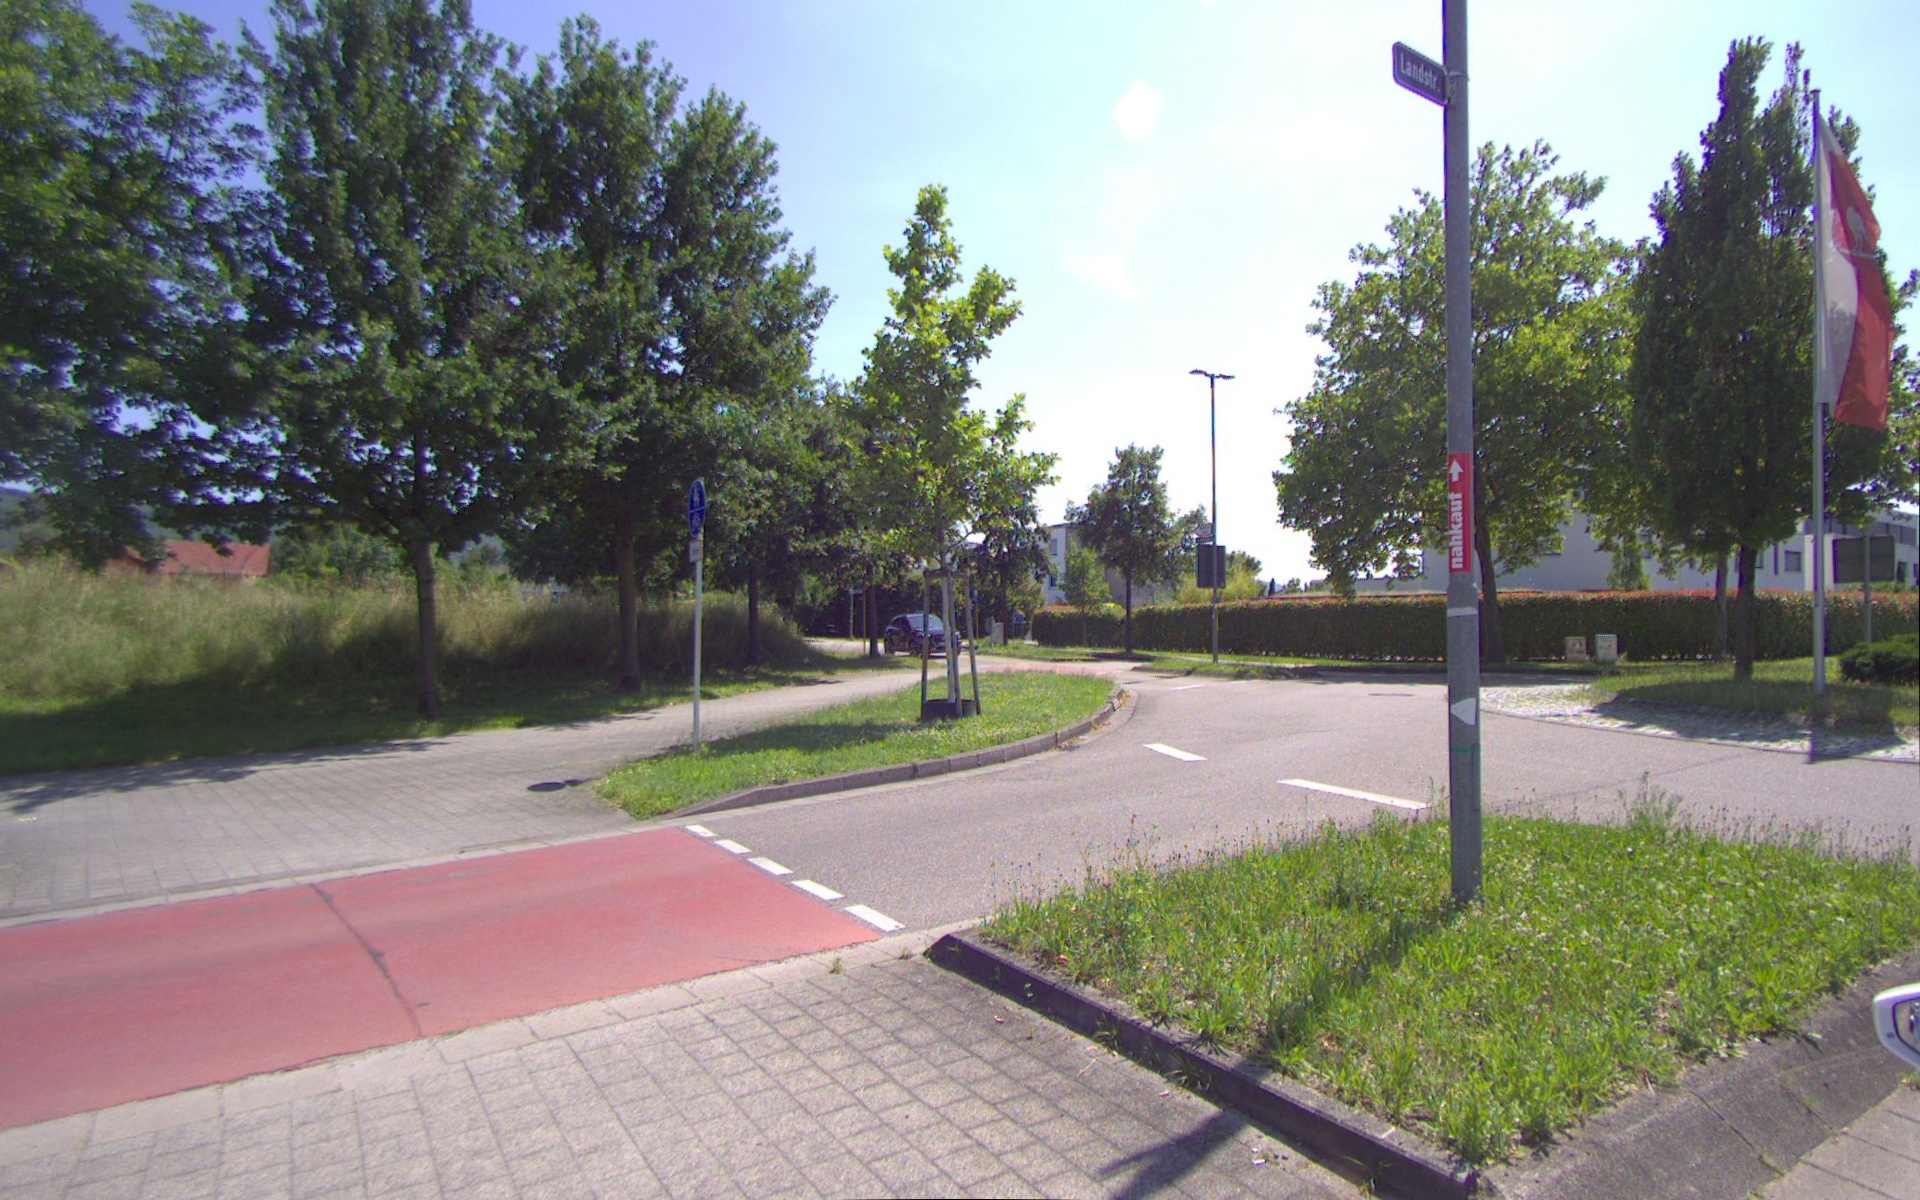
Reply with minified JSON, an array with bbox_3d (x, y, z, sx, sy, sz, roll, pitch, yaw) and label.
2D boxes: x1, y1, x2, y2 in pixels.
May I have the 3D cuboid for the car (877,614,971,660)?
[{"bbox_3d":[-1.408,1.337,37.148,1.842,1.589,4.457,0,-1,-26],"label":"car"}]
